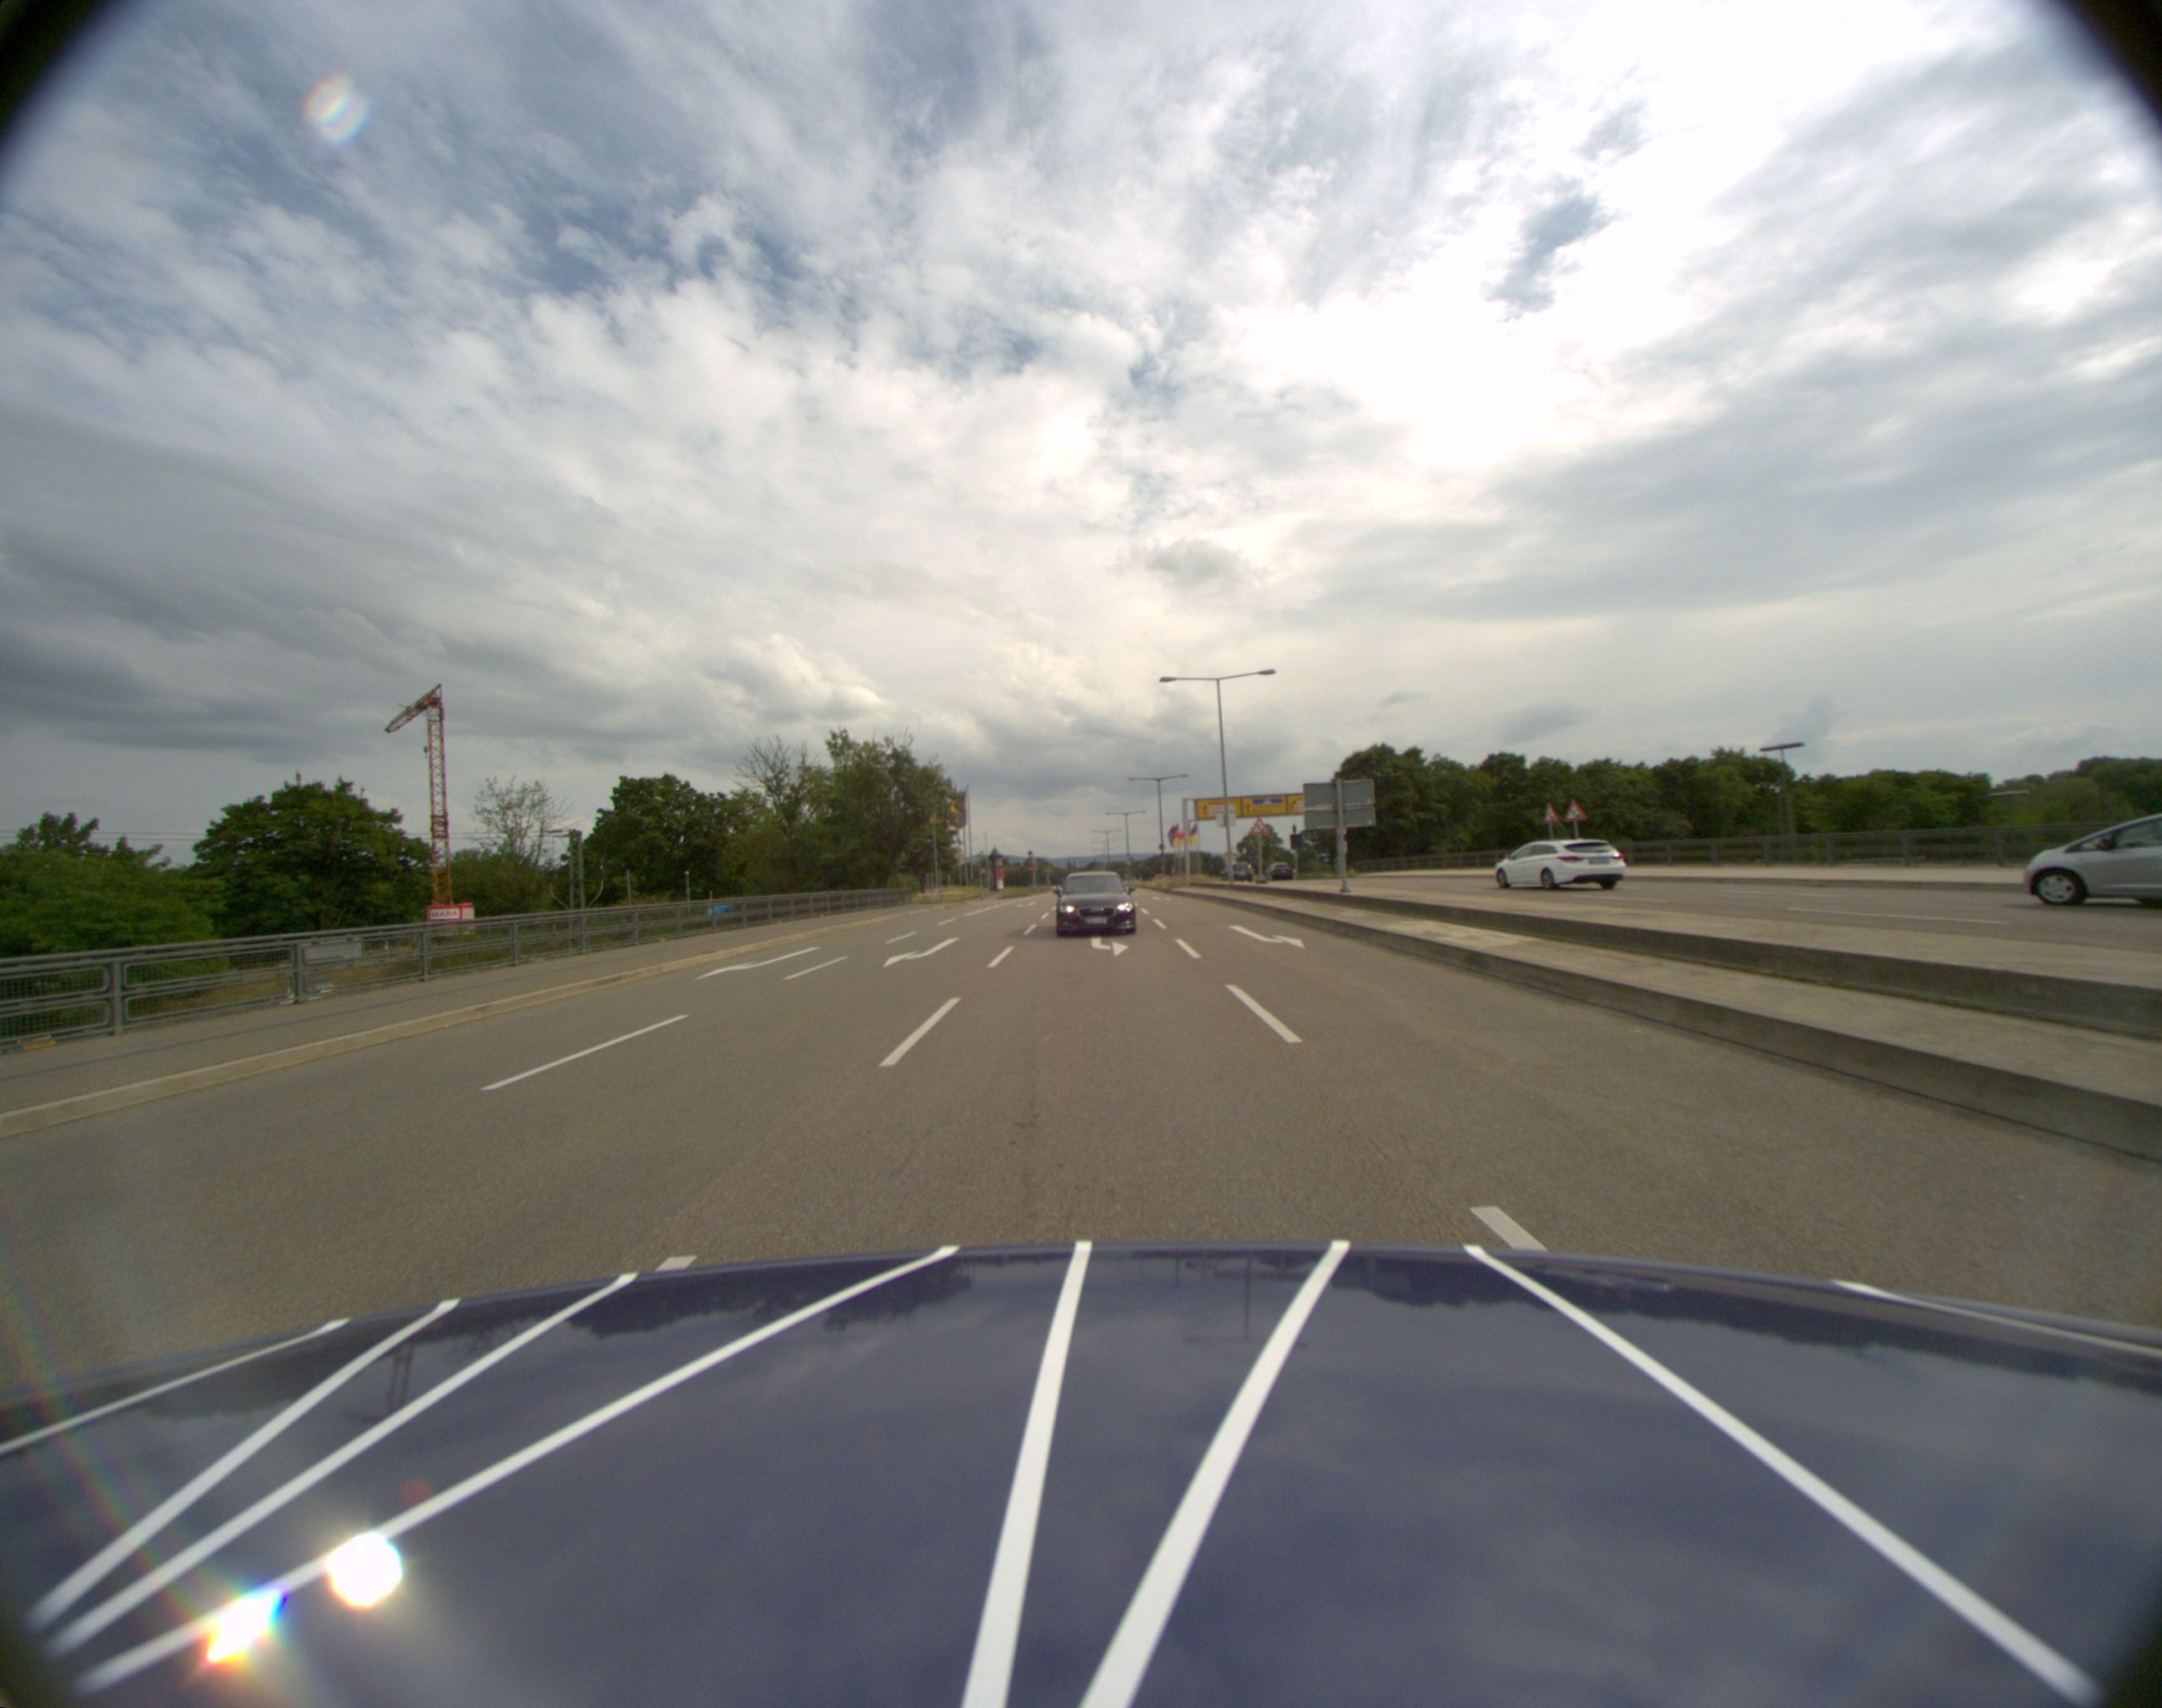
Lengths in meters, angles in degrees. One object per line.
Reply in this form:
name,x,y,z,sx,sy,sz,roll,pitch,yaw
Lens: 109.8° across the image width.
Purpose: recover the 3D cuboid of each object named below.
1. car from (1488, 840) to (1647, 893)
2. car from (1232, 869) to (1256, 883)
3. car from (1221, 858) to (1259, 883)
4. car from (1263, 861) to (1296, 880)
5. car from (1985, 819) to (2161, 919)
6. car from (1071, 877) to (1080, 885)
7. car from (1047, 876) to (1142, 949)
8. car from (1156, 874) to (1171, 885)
car,14.551,0.379,23.146,1.923,1.407,4.883,-2,-1,4
car,19.314,2.586,89.968,1.892,1.522,4.454,-3,-1,1
car,11.628,1.211,55.833,1.891,1.630,4.586,-3,-1,1
car,18.315,1.517,70.294,1.892,1.630,4.546,-3,-1,0
car,16.297,0.189,10.884,1.813,1.407,4.029,-2,0,-1
car,-1.089,5.538,157.128,1.746,1.467,3.812,-3,0,0
car,0.288,1.241,17.510,1.852,1.355,4.730,-1,-1,0
car,12.864,3.942,119.109,1.727,1.522,3.918,-3,-1,-2
